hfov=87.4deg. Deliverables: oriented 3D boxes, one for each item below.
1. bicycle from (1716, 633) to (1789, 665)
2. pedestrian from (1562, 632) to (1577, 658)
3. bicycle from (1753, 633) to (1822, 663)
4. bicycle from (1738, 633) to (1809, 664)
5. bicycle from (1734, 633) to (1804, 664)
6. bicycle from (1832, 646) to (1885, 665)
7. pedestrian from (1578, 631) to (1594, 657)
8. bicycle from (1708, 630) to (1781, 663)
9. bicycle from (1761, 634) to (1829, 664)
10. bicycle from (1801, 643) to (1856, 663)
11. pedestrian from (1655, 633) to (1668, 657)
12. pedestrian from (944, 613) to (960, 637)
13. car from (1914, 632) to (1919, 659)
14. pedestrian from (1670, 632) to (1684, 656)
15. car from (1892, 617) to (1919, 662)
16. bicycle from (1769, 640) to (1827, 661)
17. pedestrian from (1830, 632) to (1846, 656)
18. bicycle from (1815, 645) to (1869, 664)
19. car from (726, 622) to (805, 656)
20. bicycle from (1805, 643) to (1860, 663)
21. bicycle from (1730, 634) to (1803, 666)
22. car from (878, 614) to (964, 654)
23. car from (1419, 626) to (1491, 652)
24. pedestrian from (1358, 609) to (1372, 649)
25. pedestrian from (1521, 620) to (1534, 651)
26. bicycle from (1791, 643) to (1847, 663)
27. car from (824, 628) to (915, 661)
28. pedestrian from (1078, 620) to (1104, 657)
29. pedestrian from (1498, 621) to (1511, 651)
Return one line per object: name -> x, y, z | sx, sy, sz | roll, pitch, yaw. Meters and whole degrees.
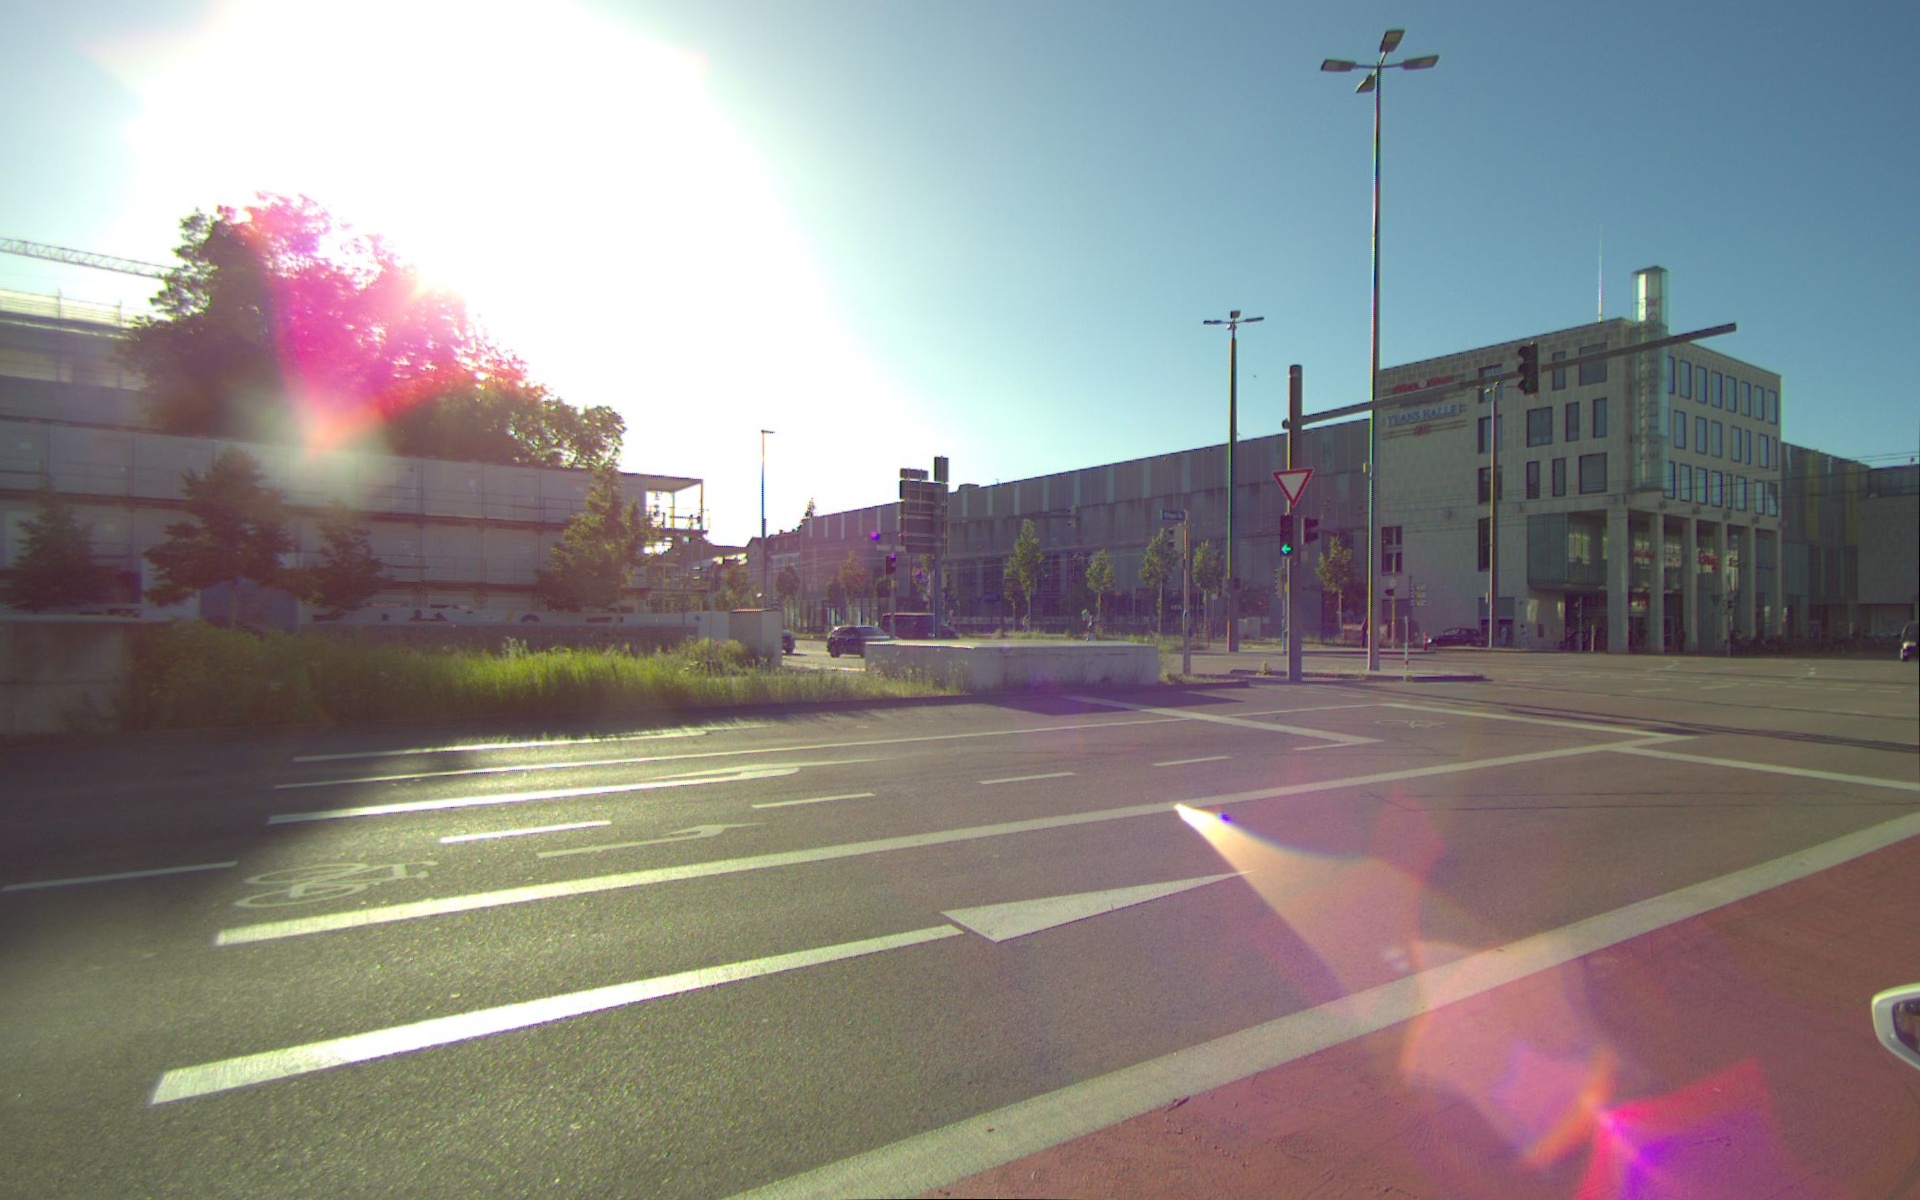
bicycle -> 51.772, 3.159, 65.682 | 1.076, 2.040, 3.597 | 1, -2, -35
pedestrian -> 38.902, 2.848, 64.099 | 0.646, 1.629, 0.619 | 1, -1, -33
bicycle -> 57.837, 3.326, 70.260 | 0.894, 2.040, 3.597 | 1, -2, -35
bicycle -> 56.041, 3.313, 69.238 | 1.076, 2.040, 3.597 | 1, -2, -35
bicycle -> 55.147, 3.272, 68.522 | 1.076, 2.040, 3.597 | 1, -2, -35
bicycle -> 71.818, 4.411, 80.328 | 0.894, 1.419, 3.031 | 1, -2, -35
pedestrian -> 39.381, 2.750, 63.212 | 0.646, 1.629, 0.619 | 1, -1, -33
bicycle -> 50.680, 2.982, 64.936 | 1.077, 2.040, 3.592 | 1, -2, -39
bicycle -> 59.303, 3.463, 71.356 | 0.894, 2.040, 3.597 | 1, -2, -35
bicycle -> 65.228, 3.982, 75.474 | 0.894, 1.419, 3.031 | 1, -2, -35
pedestrian -> 49.054, 3.137, 70.232 | 0.613, 1.629, 0.653 | 0, -1, 23
pedestrian -> -0.513, 1.627, 64.784 | 0.718, 1.522, 0.794 | 1, -2, -39
car -> 51.465, 2.296, 51.842 | 4.589, 1.374, 1.985 | 0, -1, -29
pedestrian -> 50.031, 3.082, 70.104 | 0.613, 1.629, 0.653 | 0, -1, 23
car -> 40.213, 1.607, 41.859 | 1.972, 1.765, 4.618 | -1, -1, 43
bicycle -> 60.037, 3.621, 72.005 | 0.894, 1.419, 3.031 | 1, -2, -35
pedestrian -> 61.168, 3.068, 70.007 | 0.731, 1.629, 0.623 | 0, -1, 31
bicycle -> 68.468, 4.200, 77.974 | 0.894, 1.419, 3.031 | 1, -2, -35
car -> -10.222, 2.050, 52.514 | 2.120, 1.631, 4.603 | 4, -4, -39
bicycle -> 66.318, 4.009, 76.373 | 0.894, 1.419, 3.031 | 1, -2, -35
bicycle -> 53.137, 3.237, 66.209 | 1.076, 2.040, 3.597 | 1, -2, -35
car -> -1.959, 1.680, 49.206 | 1.857, 1.834, 4.603 | 4, -4, -39
car -> 31.347, 2.467, 63.676 | 1.763, 1.584, 3.755 | 1, -1, -33
pedestrian -> 20.899, 1.491, 51.831 | 0.621, 2.040, 0.509 | 1, -2, -45
pedestrian -> 38.436, 2.408, 68.067 | 0.512, 2.040, 0.617 | 1, -1, -40
bicycle -> 63.652, 3.894, 74.477 | 0.894, 1.419, 3.031 | 1, -2, -35
car -> -4.118, 1.986, 45.113 | 1.857, 1.392, 4.603 | 4, -4, -39
pedestrian -> 5.443, 1.593, 41.621 | 0.797, 1.522, 0.715 | 1, -2, -41
pedestrian -> 36.686, 2.435, 67.719 | 0.512, 2.040, 0.617 | 1, -1, -40
